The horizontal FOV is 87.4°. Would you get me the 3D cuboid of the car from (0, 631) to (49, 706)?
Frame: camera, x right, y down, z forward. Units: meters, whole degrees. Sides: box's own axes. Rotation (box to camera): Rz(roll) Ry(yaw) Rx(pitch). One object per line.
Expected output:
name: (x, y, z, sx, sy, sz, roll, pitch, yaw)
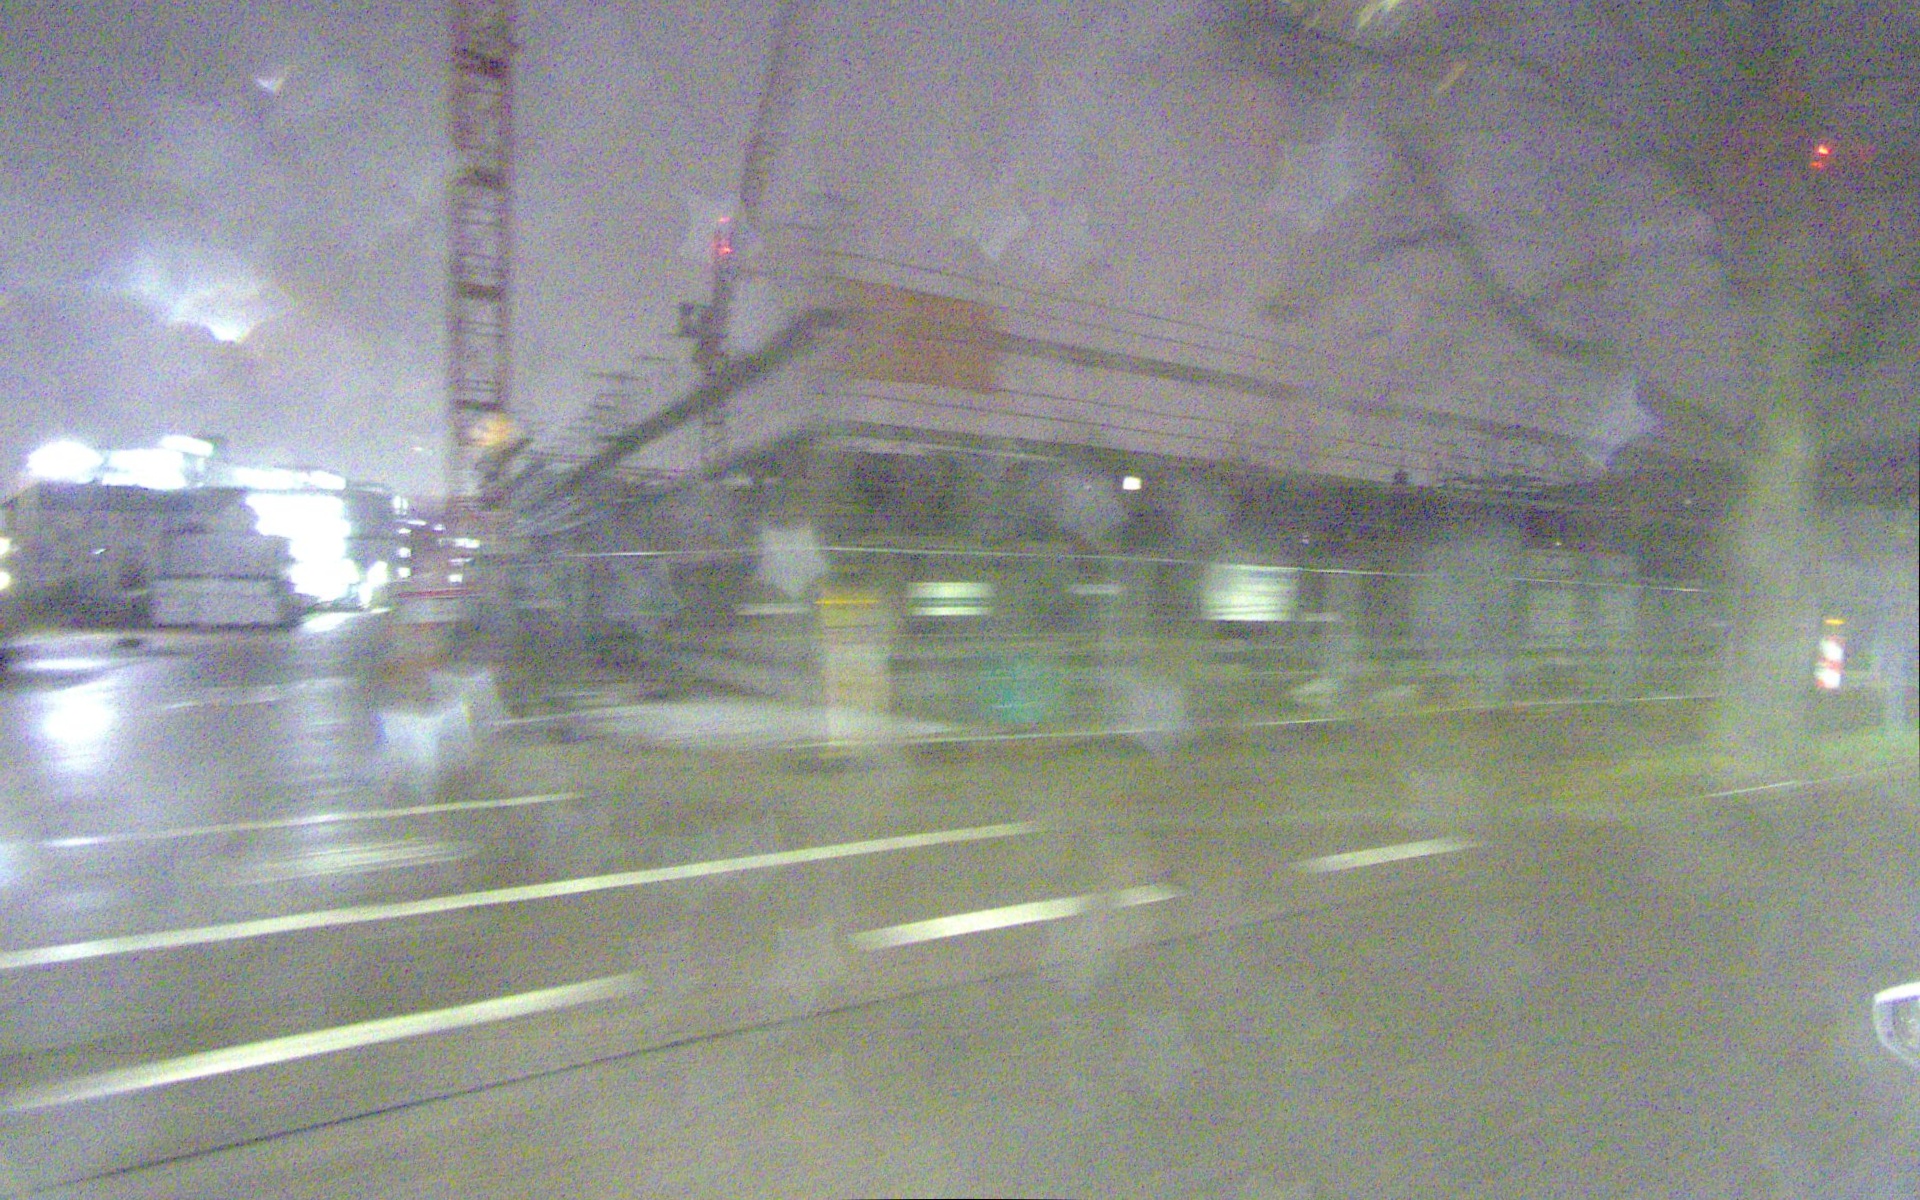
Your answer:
car: (-17.673, 1.190, 17.683, 1.476, 1.275, 3.839, 4, -3, -29)
